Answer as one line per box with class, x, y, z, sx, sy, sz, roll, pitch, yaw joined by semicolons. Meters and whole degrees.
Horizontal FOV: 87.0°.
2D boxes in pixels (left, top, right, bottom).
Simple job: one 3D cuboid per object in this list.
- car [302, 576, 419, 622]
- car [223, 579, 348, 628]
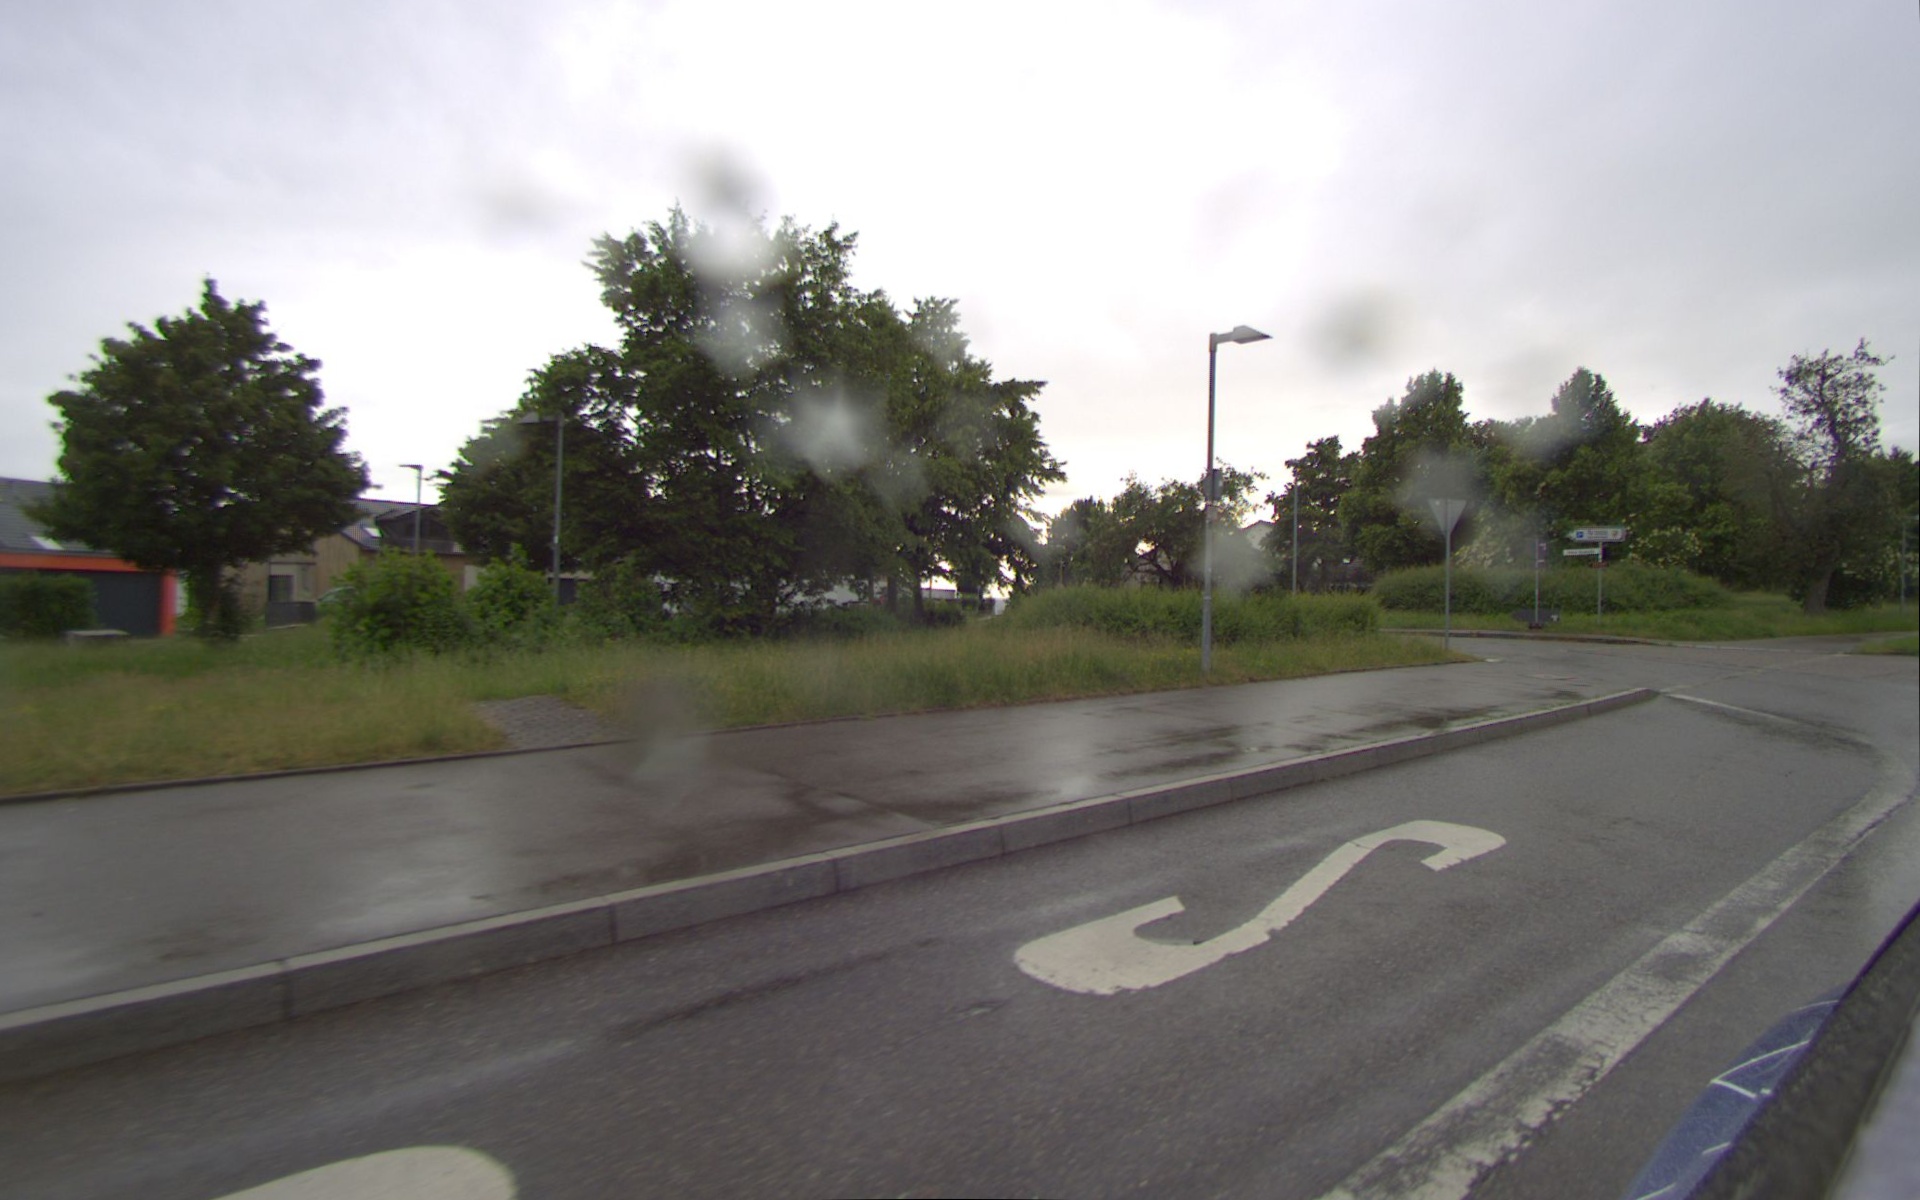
car;-24.842;-0.060;41.994;3.941;1.772;1.971;1;0;14
car;-26.559;0.135;39.878;3.941;1.772;1.971;1;0;14
